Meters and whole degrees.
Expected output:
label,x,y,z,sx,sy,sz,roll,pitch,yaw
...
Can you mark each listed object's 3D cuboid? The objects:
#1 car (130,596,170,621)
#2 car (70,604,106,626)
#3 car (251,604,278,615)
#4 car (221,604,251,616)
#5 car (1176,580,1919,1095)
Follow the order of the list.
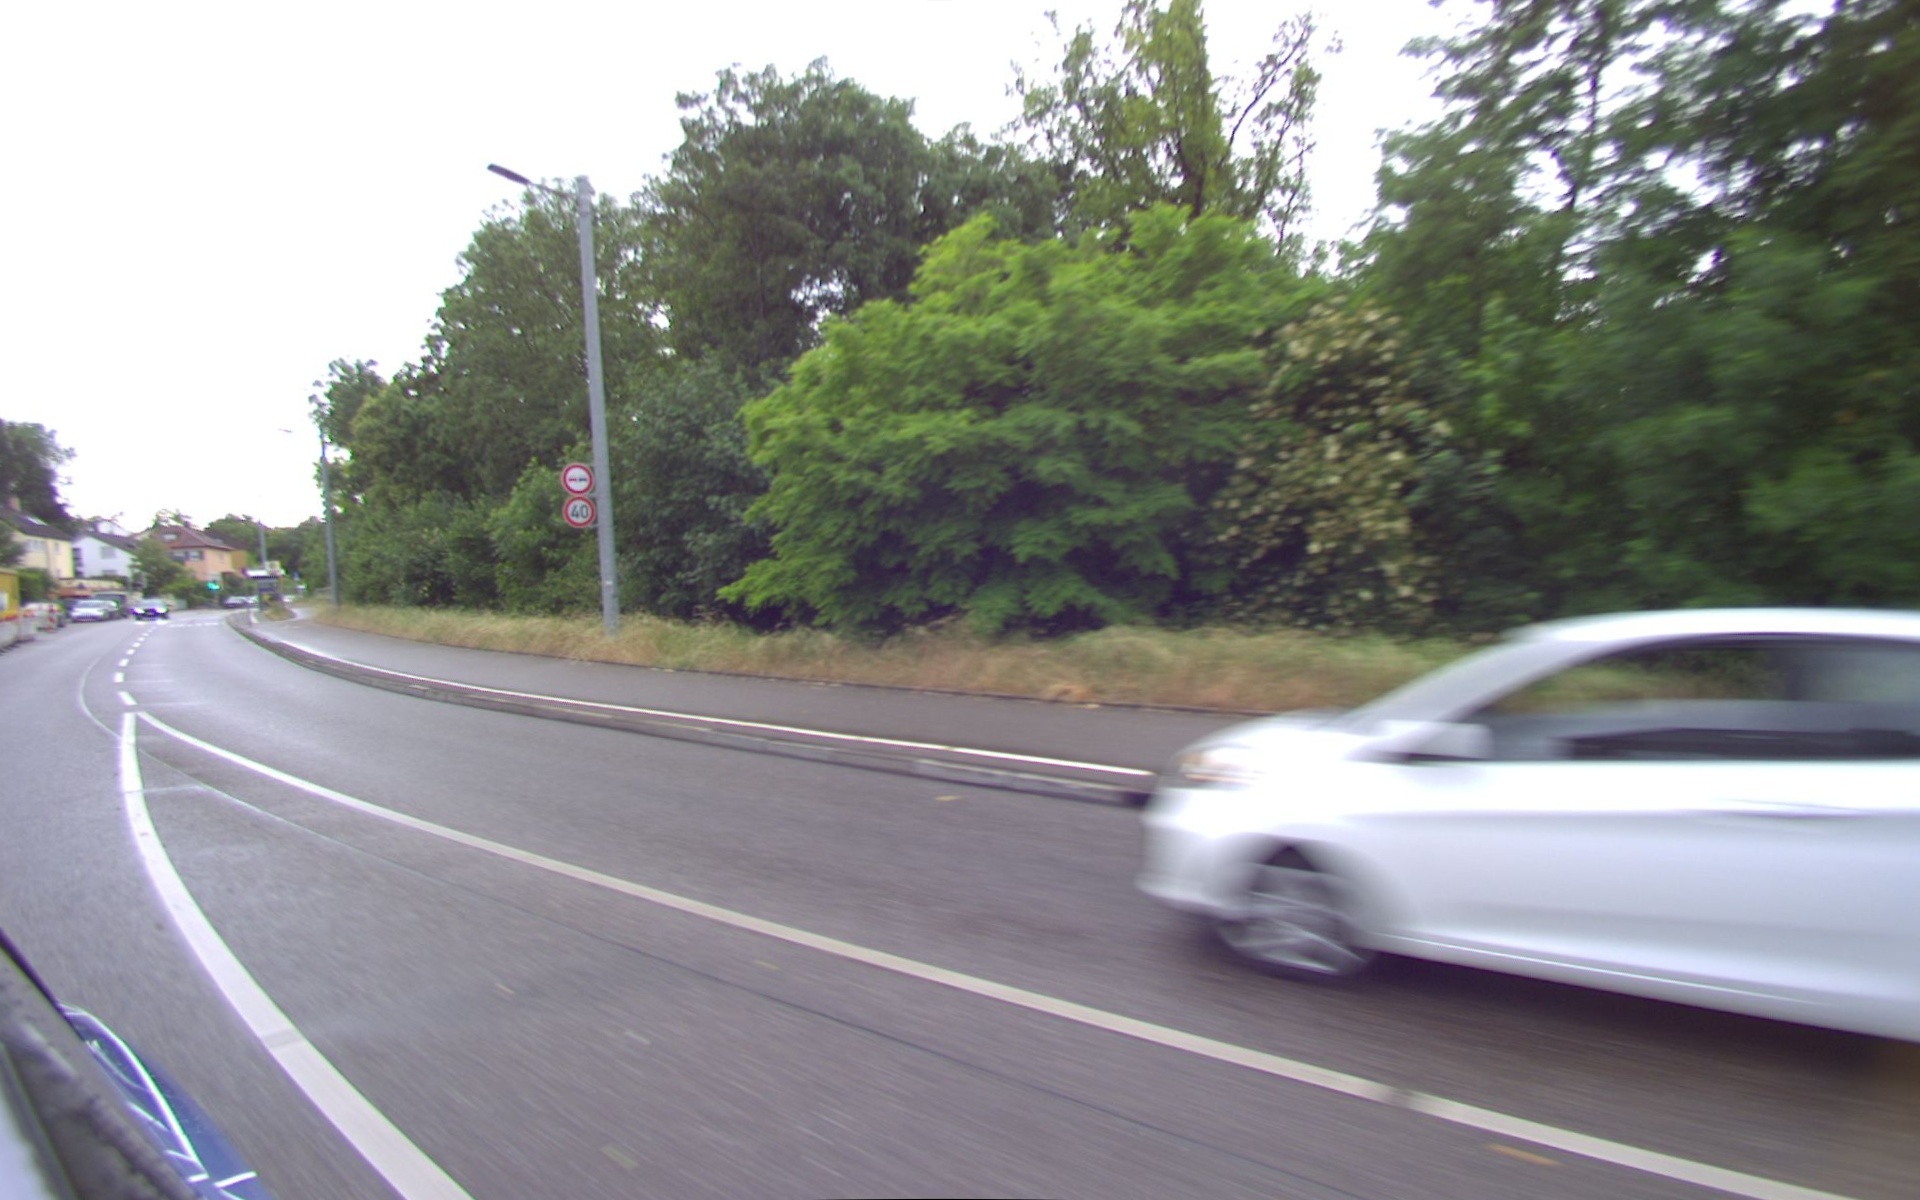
label,x,y,z,sx,sy,sz,roll,pitch,yaw
car,-57.736,0.629,72.181,1.967,1.730,4.010,0,-1,-35
car,-60.153,1.000,69.879,1.710,1.501,4.008,0,0,-39
car,-91.289,1.236,132.859,1.843,1.501,4.013,0,0,-19
car,-87.355,1.195,122.084,1.843,1.501,4.013,0,0,-19
car,2.902,0.673,3.750,3.791,1.465,1.619,-1,0,33
